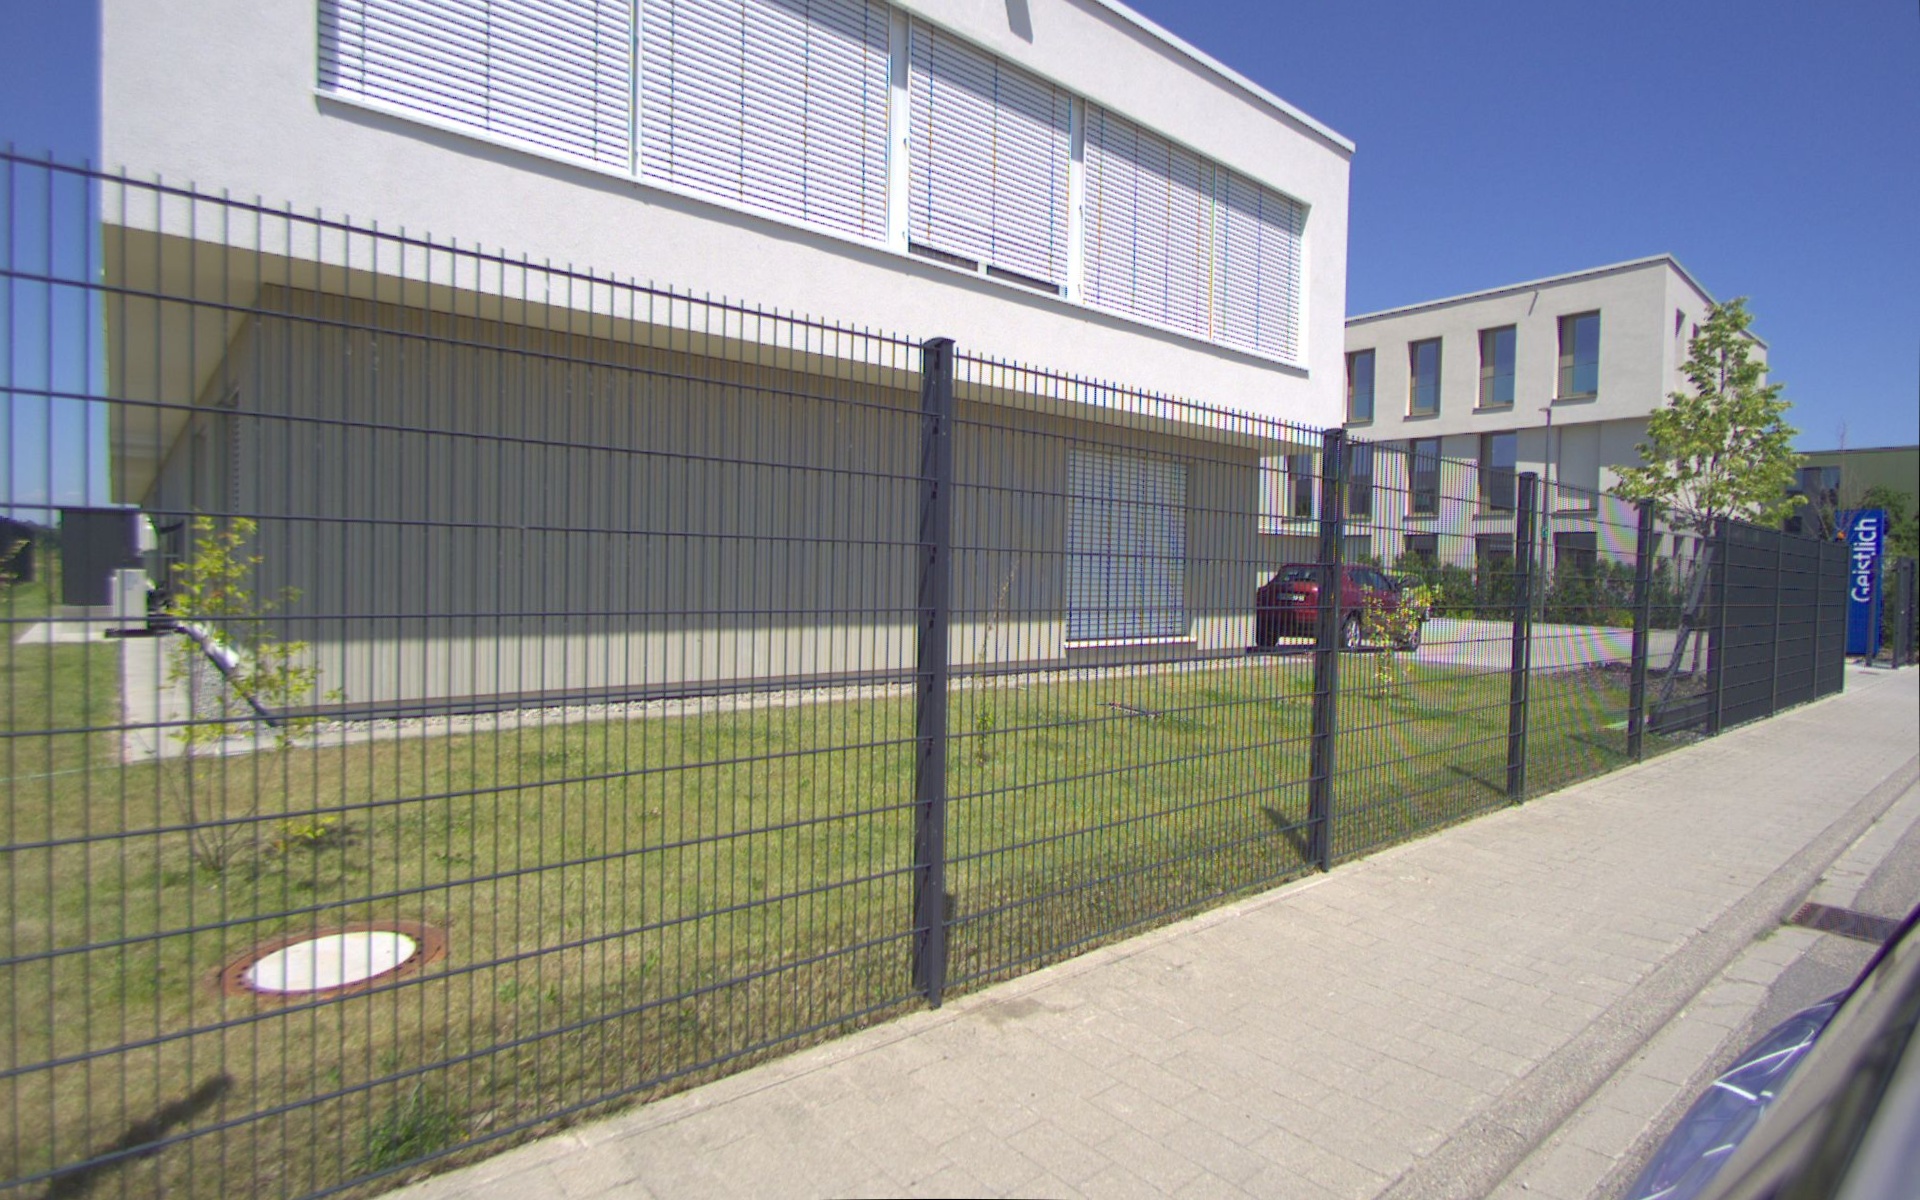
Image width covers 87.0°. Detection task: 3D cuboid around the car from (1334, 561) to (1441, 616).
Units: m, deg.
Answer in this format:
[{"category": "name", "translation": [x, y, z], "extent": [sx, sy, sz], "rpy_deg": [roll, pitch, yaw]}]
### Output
[{"category": "car", "translation": [12.233, -0.349, 28.893], "extent": [1.610, 1.482, 3.543], "rpy_deg": [1, 2, 45]}]

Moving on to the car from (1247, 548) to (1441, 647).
[{"category": "car", "translation": [6.976, -0.034, 18.185], "extent": [4.010, 1.577, 1.670], "rpy_deg": [1, 1, -44]}]
